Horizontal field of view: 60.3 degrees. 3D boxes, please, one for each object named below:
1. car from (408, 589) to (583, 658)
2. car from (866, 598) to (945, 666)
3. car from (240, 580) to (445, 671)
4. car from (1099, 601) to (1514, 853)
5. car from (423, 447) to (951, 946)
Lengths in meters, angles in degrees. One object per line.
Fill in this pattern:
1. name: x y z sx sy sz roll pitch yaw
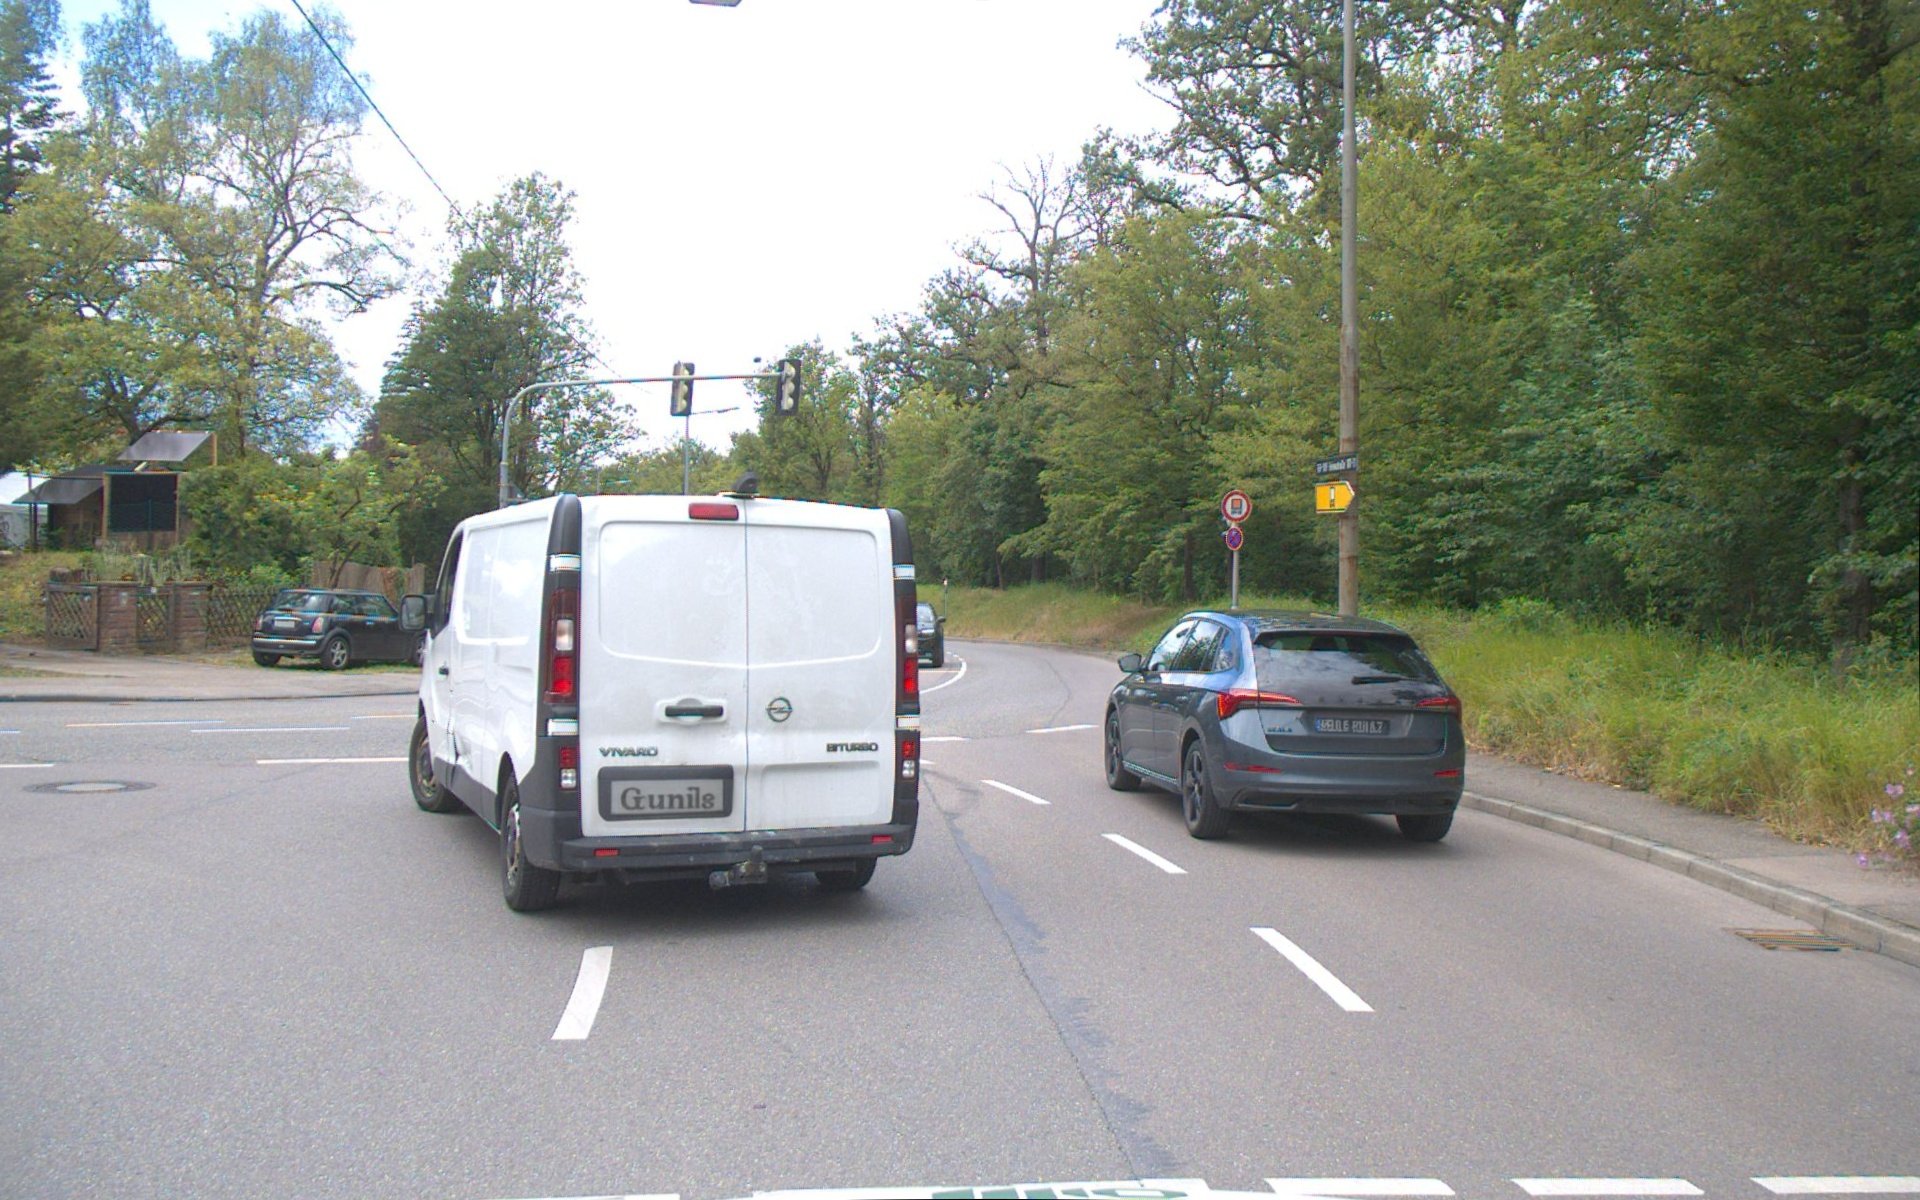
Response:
1. car: -11.389 0.577 40.646 4.021 1.580 1.846 1 1 -17
2. car: -1.385 0.741 40.686 1.780 1.533 3.996 -1 0 -4
3. car: -11.300 0.467 30.524 1.662 1.474 3.545 3 0 17
4. car: 2.266 0.772 11.941 1.758 1.476 3.995 1 0 -6
5. car: -1.827 0.389 9.424 1.891 2.089 4.580 1 0 -24
